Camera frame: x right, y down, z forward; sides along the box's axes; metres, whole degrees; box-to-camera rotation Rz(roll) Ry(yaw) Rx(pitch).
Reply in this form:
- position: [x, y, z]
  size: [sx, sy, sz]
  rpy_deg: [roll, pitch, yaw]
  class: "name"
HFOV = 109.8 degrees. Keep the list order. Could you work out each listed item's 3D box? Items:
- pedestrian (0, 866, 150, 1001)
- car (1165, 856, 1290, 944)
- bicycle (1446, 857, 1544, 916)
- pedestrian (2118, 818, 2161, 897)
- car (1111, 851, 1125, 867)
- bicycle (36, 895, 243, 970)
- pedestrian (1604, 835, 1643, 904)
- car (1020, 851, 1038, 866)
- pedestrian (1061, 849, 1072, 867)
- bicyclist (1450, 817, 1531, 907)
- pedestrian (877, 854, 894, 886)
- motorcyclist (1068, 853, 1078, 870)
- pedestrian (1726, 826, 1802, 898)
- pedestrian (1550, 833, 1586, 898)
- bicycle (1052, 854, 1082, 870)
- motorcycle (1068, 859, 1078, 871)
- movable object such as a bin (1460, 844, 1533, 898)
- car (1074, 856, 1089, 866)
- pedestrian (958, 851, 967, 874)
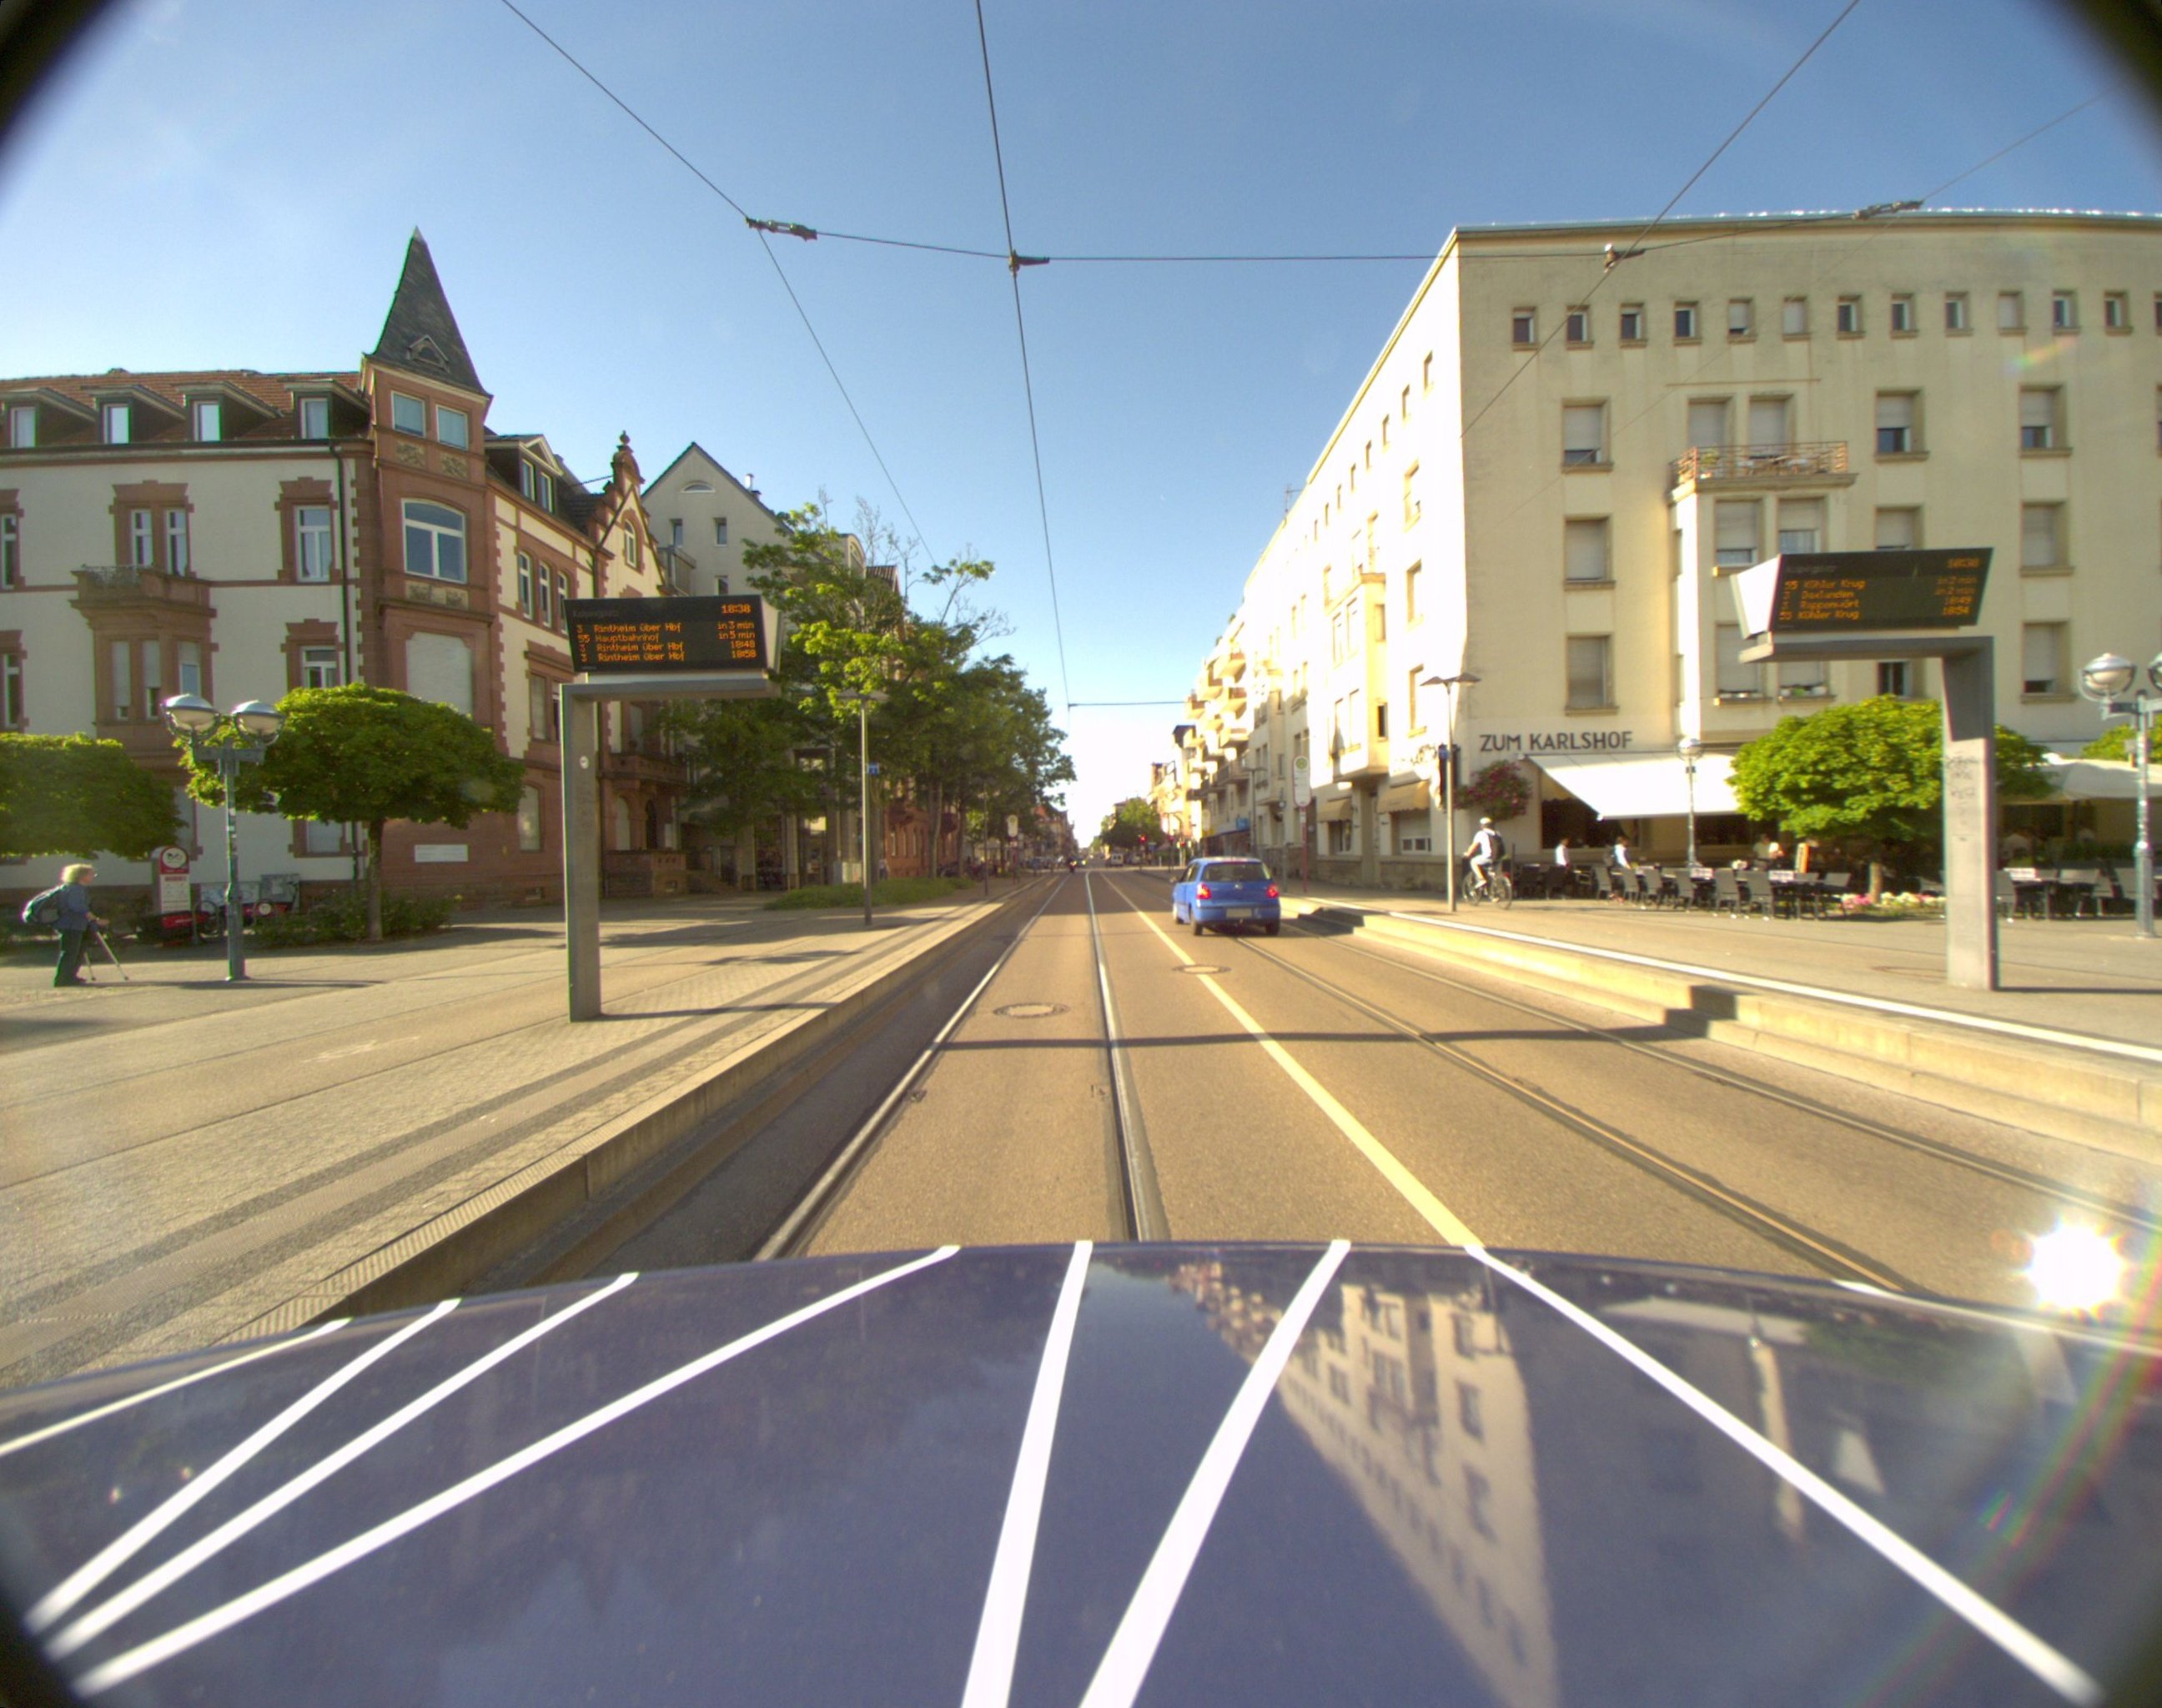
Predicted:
- position: [-13.496, 1.013, 10.060]
  size: [1.070, 1.659, 0.956]
  rpy_deg: [-2, 1, -12]
  class: "pedestrian"
- position: [2.808, 0.816, 15.423]
  size: [1.671, 1.479, 3.999]
  rpy_deg: [-2, 0, -1]
  class: "car"
- position: [8.488, 0.634, 15.698]
  size: [0.714, 1.119, 2.034]
  rpy_deg: [-2, 0, -7]
  class: "bicycle"
- position: [25.070, 0.081, 17.962]
  size: [0.578, 1.813, 0.647]
  rpy_deg: [-2, 1, -36]
  class: "pedestrian"
- position: [4.992, 0.661, 103.607]
  size: [1.877, 2.105, 4.000]
  rpy_deg: [-2, 1, 2]
  class: "car"
- position: [-18.161, 1.456, 14.812]
  size: [0.790, 1.062, 2.804]
  rpy_deg: [-2, 2, -8]
  class: "bicycle"
- position: [13.092, 0.389, 18.357]
  size: [0.672, 1.634, 0.678]
  rpy_deg: [-2, -2, 31]
  class: "pedestrian"
- position: [-7.234, 0.638, 106.128]
  size: [1.998, 2.002, 4.001]
  rpy_deg: [-1, 0, 4]
  class: "car"
- position: [-1.656, 0.419, 86.268]
  size: [1.022, 2.002, 1.176]
  rpy_deg: [-2, 1, -13]
  class: "pedestrian"
- position: [8.445, 0.154, 15.704]
  size: [1.007, 1.783, 1.094]
  rpy_deg: [-2, 1, -8]
  class: "bicyclist"
- position: [-10.711, 0.864, 41.706]
  size: [0.742, 1.725, 0.877]
  rpy_deg: [-2, 1, -6]
  class: "pedestrian"
- position: [-0.730, 0.674, 68.705]
  size: [0.821, 1.466, 1.114]
  rpy_deg: [-1, 1, 1]
  class: "motorcyclist"
- position: [15.988, 0.194, 17.798]
  size: [1.066, 1.634, 0.757]
  rpy_deg: [0, -2, -4]
  class: "pedestrian"
- position: [12.598, 0.313, 19.678]
  size: [0.672, 1.634, 0.752]
  rpy_deg: [-1, -2, 27]
  class: "pedestrian"
- position: [-1.590, 0.878, 86.080]
  size: [3.109, 1.719, 1.227]
  rpy_deg: [-1, 1, -16]
  class: "bicycle"
- position: [-0.710, 0.990, 68.823]
  size: [0.799, 1.090, 2.429]
  rpy_deg: [-1, 0, 1]
  class: "motorcycle"
- position: [11.161, 0.449, 20.451]
  size: [1.319, 1.392, 1.128]
  rpy_deg: [-1, 1, -1]
  class: "movable object such as a bin"
- position: [0.092, 0.957, 107.826]
  size: [1.998, 1.318, 3.863]
  rpy_deg: [-1, 0, 1]
  class: "car"
- position: [-10.202, 0.725, 65.399]
  size: [0.653, 2.002, 0.559]
  rpy_deg: [-1, 1, 3]
  class: "pedestrian"
